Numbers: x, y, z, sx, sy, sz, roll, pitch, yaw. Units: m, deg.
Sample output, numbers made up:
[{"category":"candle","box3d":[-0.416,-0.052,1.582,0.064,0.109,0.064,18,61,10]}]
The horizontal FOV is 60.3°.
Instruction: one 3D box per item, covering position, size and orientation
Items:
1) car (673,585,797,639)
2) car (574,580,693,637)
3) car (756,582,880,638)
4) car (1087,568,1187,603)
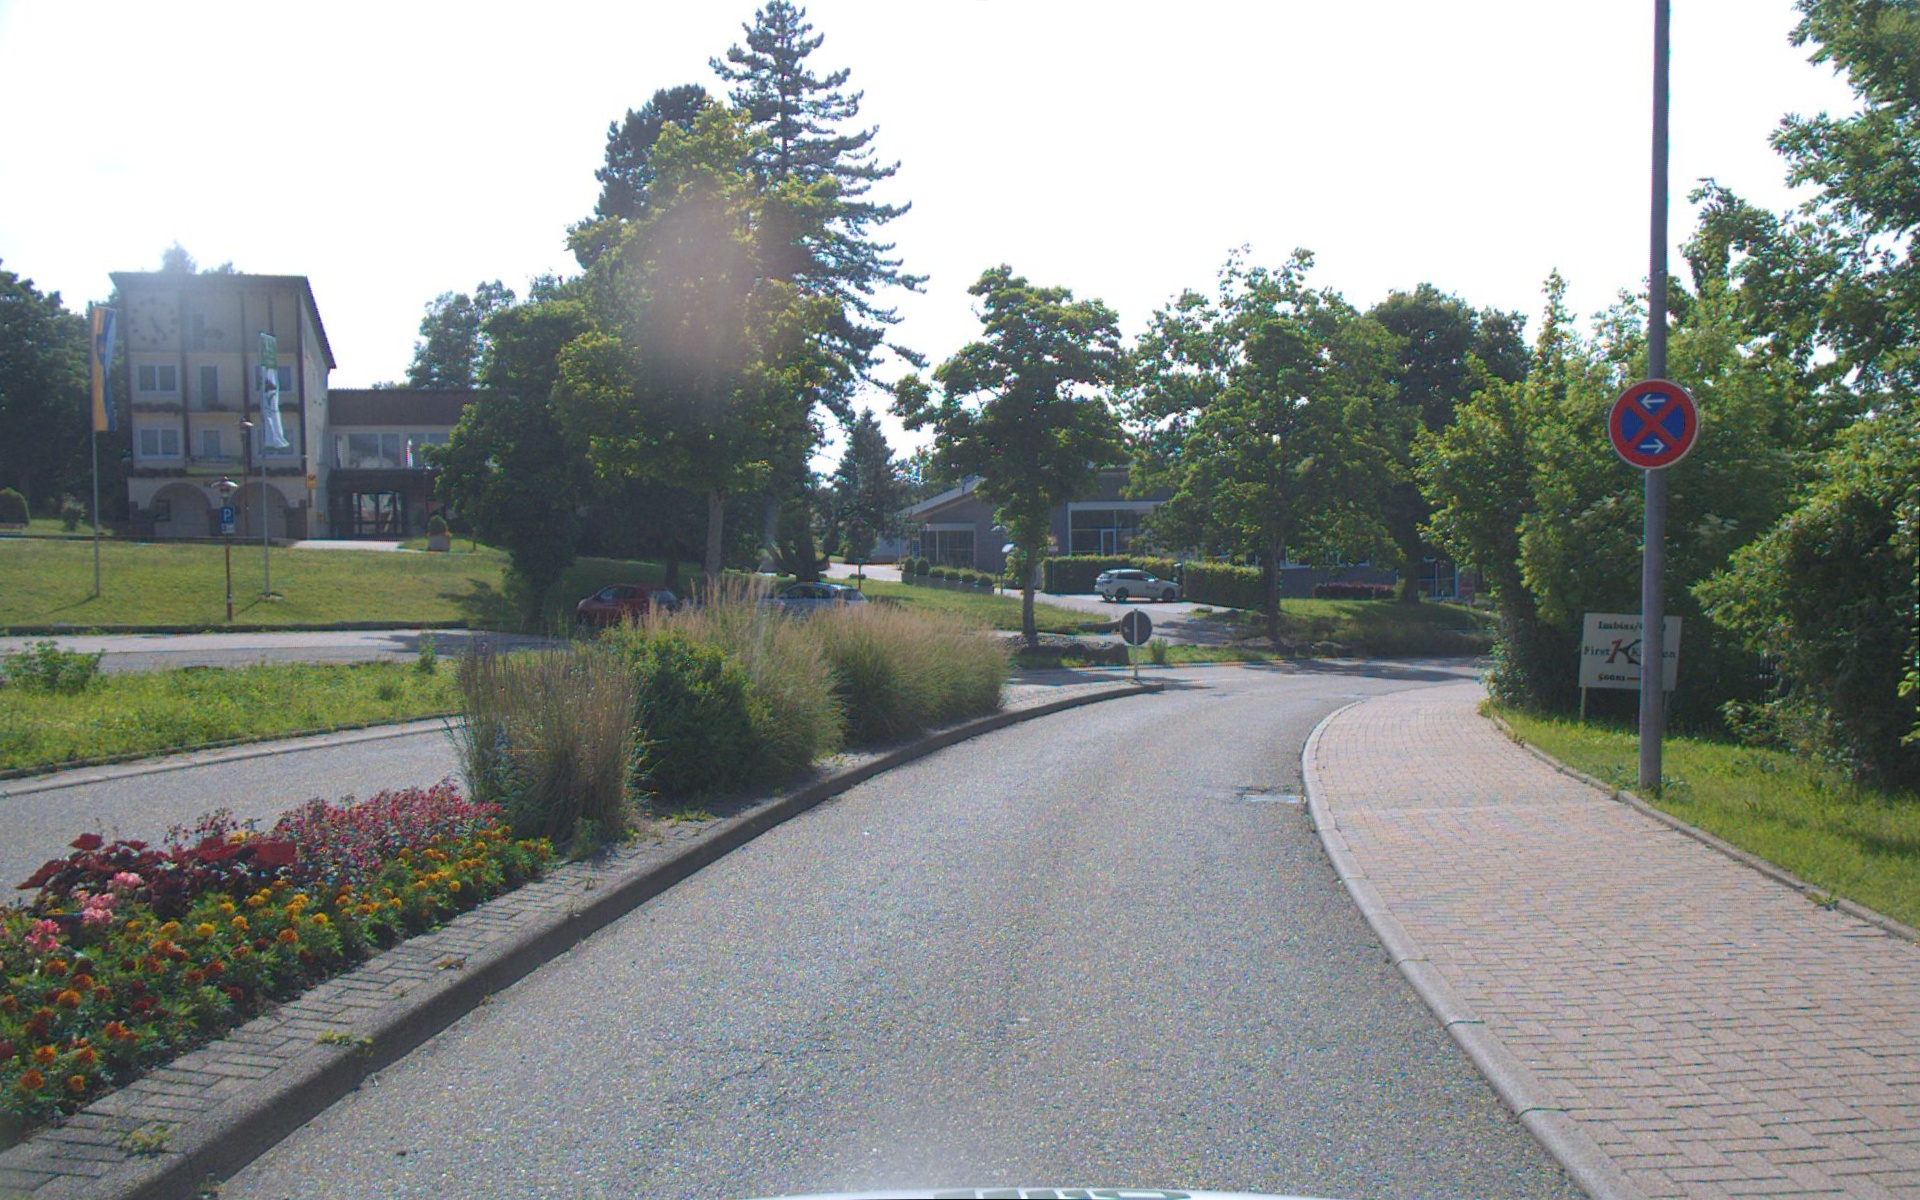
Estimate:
[{"category":"car","box3d":[-7.005,0.364,51.358,3.642,1.458,1.768,3,1,38]},{"category":"car","box3d":[-9.663,0.248,48.921,3.144,1.496,1.769,3,1,36]},{"category":"car","box3d":[-4.713,0.311,54.595,3.865,1.637,1.769,3,1,37]},{"category":"car","box3d":[9.032,-0.761,84.475,4.645,1.560,1.990,-1,6,-20]}]
